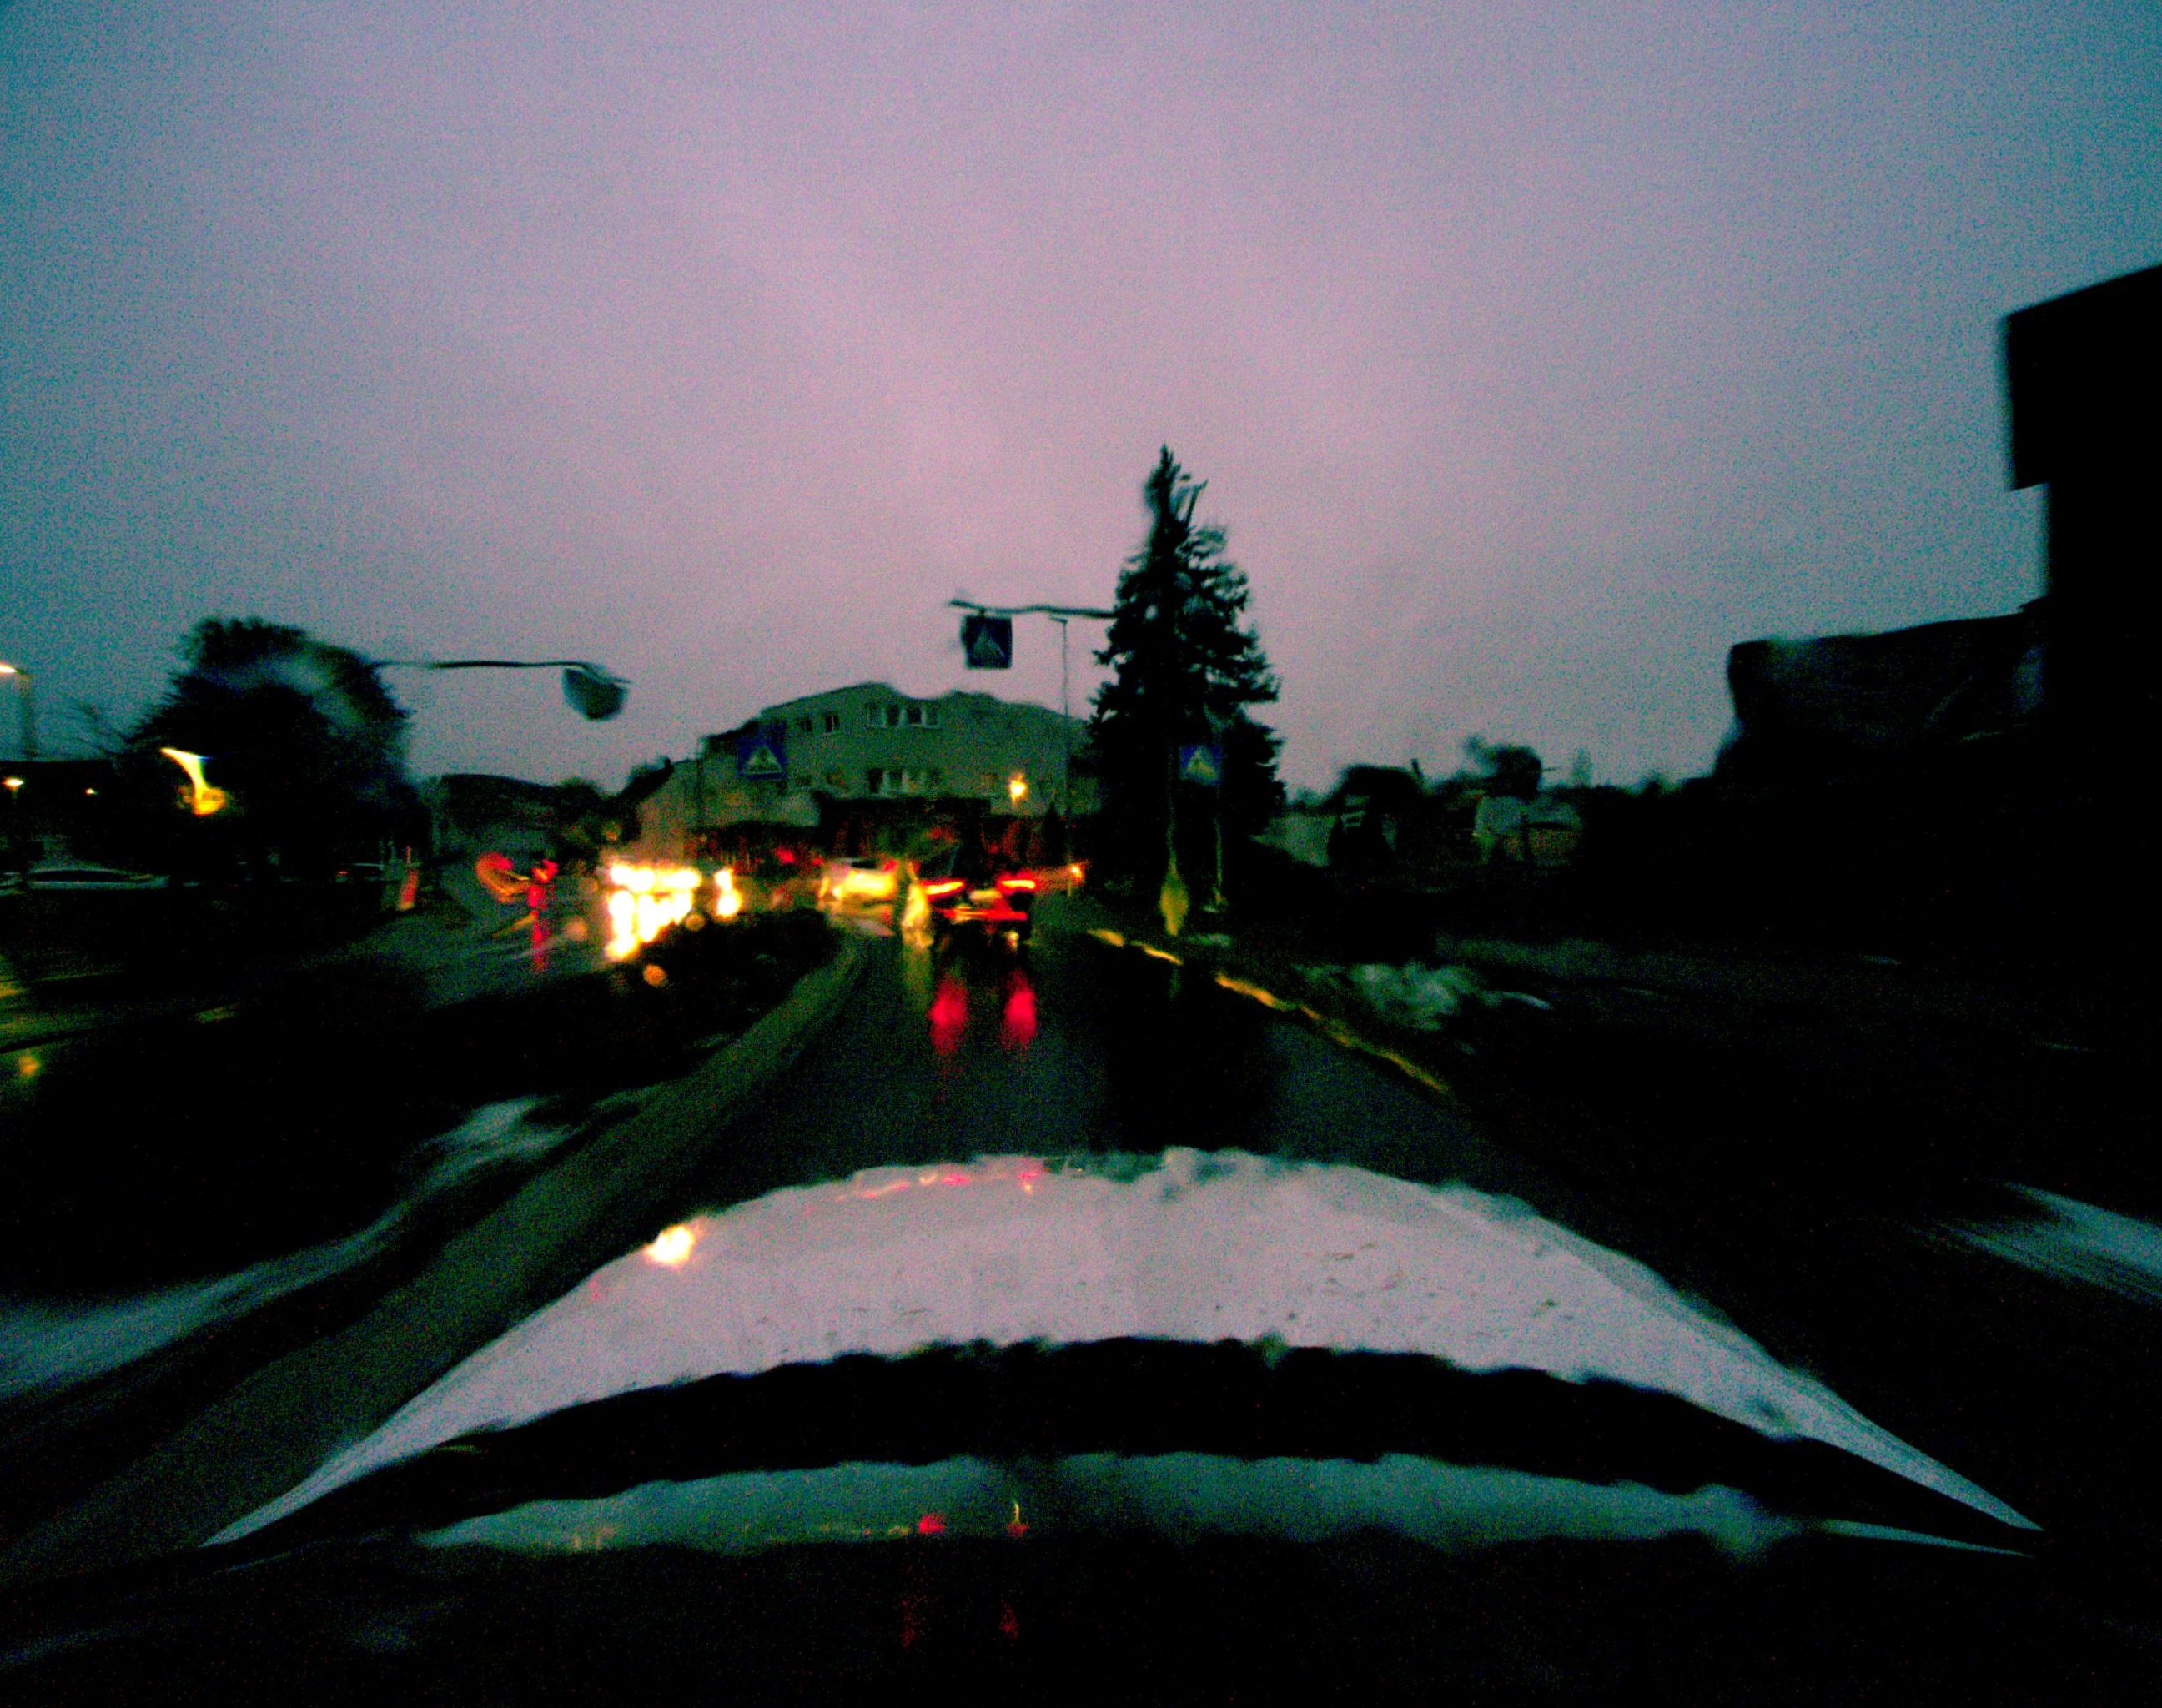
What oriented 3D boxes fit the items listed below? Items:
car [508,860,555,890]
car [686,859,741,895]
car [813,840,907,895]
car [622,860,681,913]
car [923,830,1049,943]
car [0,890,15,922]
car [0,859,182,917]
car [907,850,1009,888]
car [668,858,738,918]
[{"bbox_3d":[-37.647,1.409,55.759,2.081,1.833,4.517,-2,2,-41],"label":"car"},{"bbox_3d":[-19.873,1.174,43.902,2.077,1.716,4.525,-2,2,-32],"label":"car"},{"bbox_3d":[-7.694,0.389,28.026,2.176,1.689,4.531,-1,1,-27],"label":"car"},{"bbox_3d":[-19.441,1.403,36.930,2.176,2.060,4.530,-2,2,-28],"label":"car"},{"bbox_3d":[-1.799,0.477,14.898,1.944,1.718,3.988,-2,1,-9],"label":"car"},{"bbox_3d":[-58.186,2.827,41.894,1.617,1.608,3.936,0,2,39],"label":"car"},{"bbox_3d":[-34.417,1.112,28.116,1.684,1.747,4.384,0,1,37],"label":"car"},{"bbox_3d":[-5.547,0.629,37.310,1.884,1.572,4.600,0,1,38],"label":"car"},{"bbox_3d":[-15.101,1.255,32.391,2.176,2.060,4.529,-2,2,-29],"label":"car"}]
